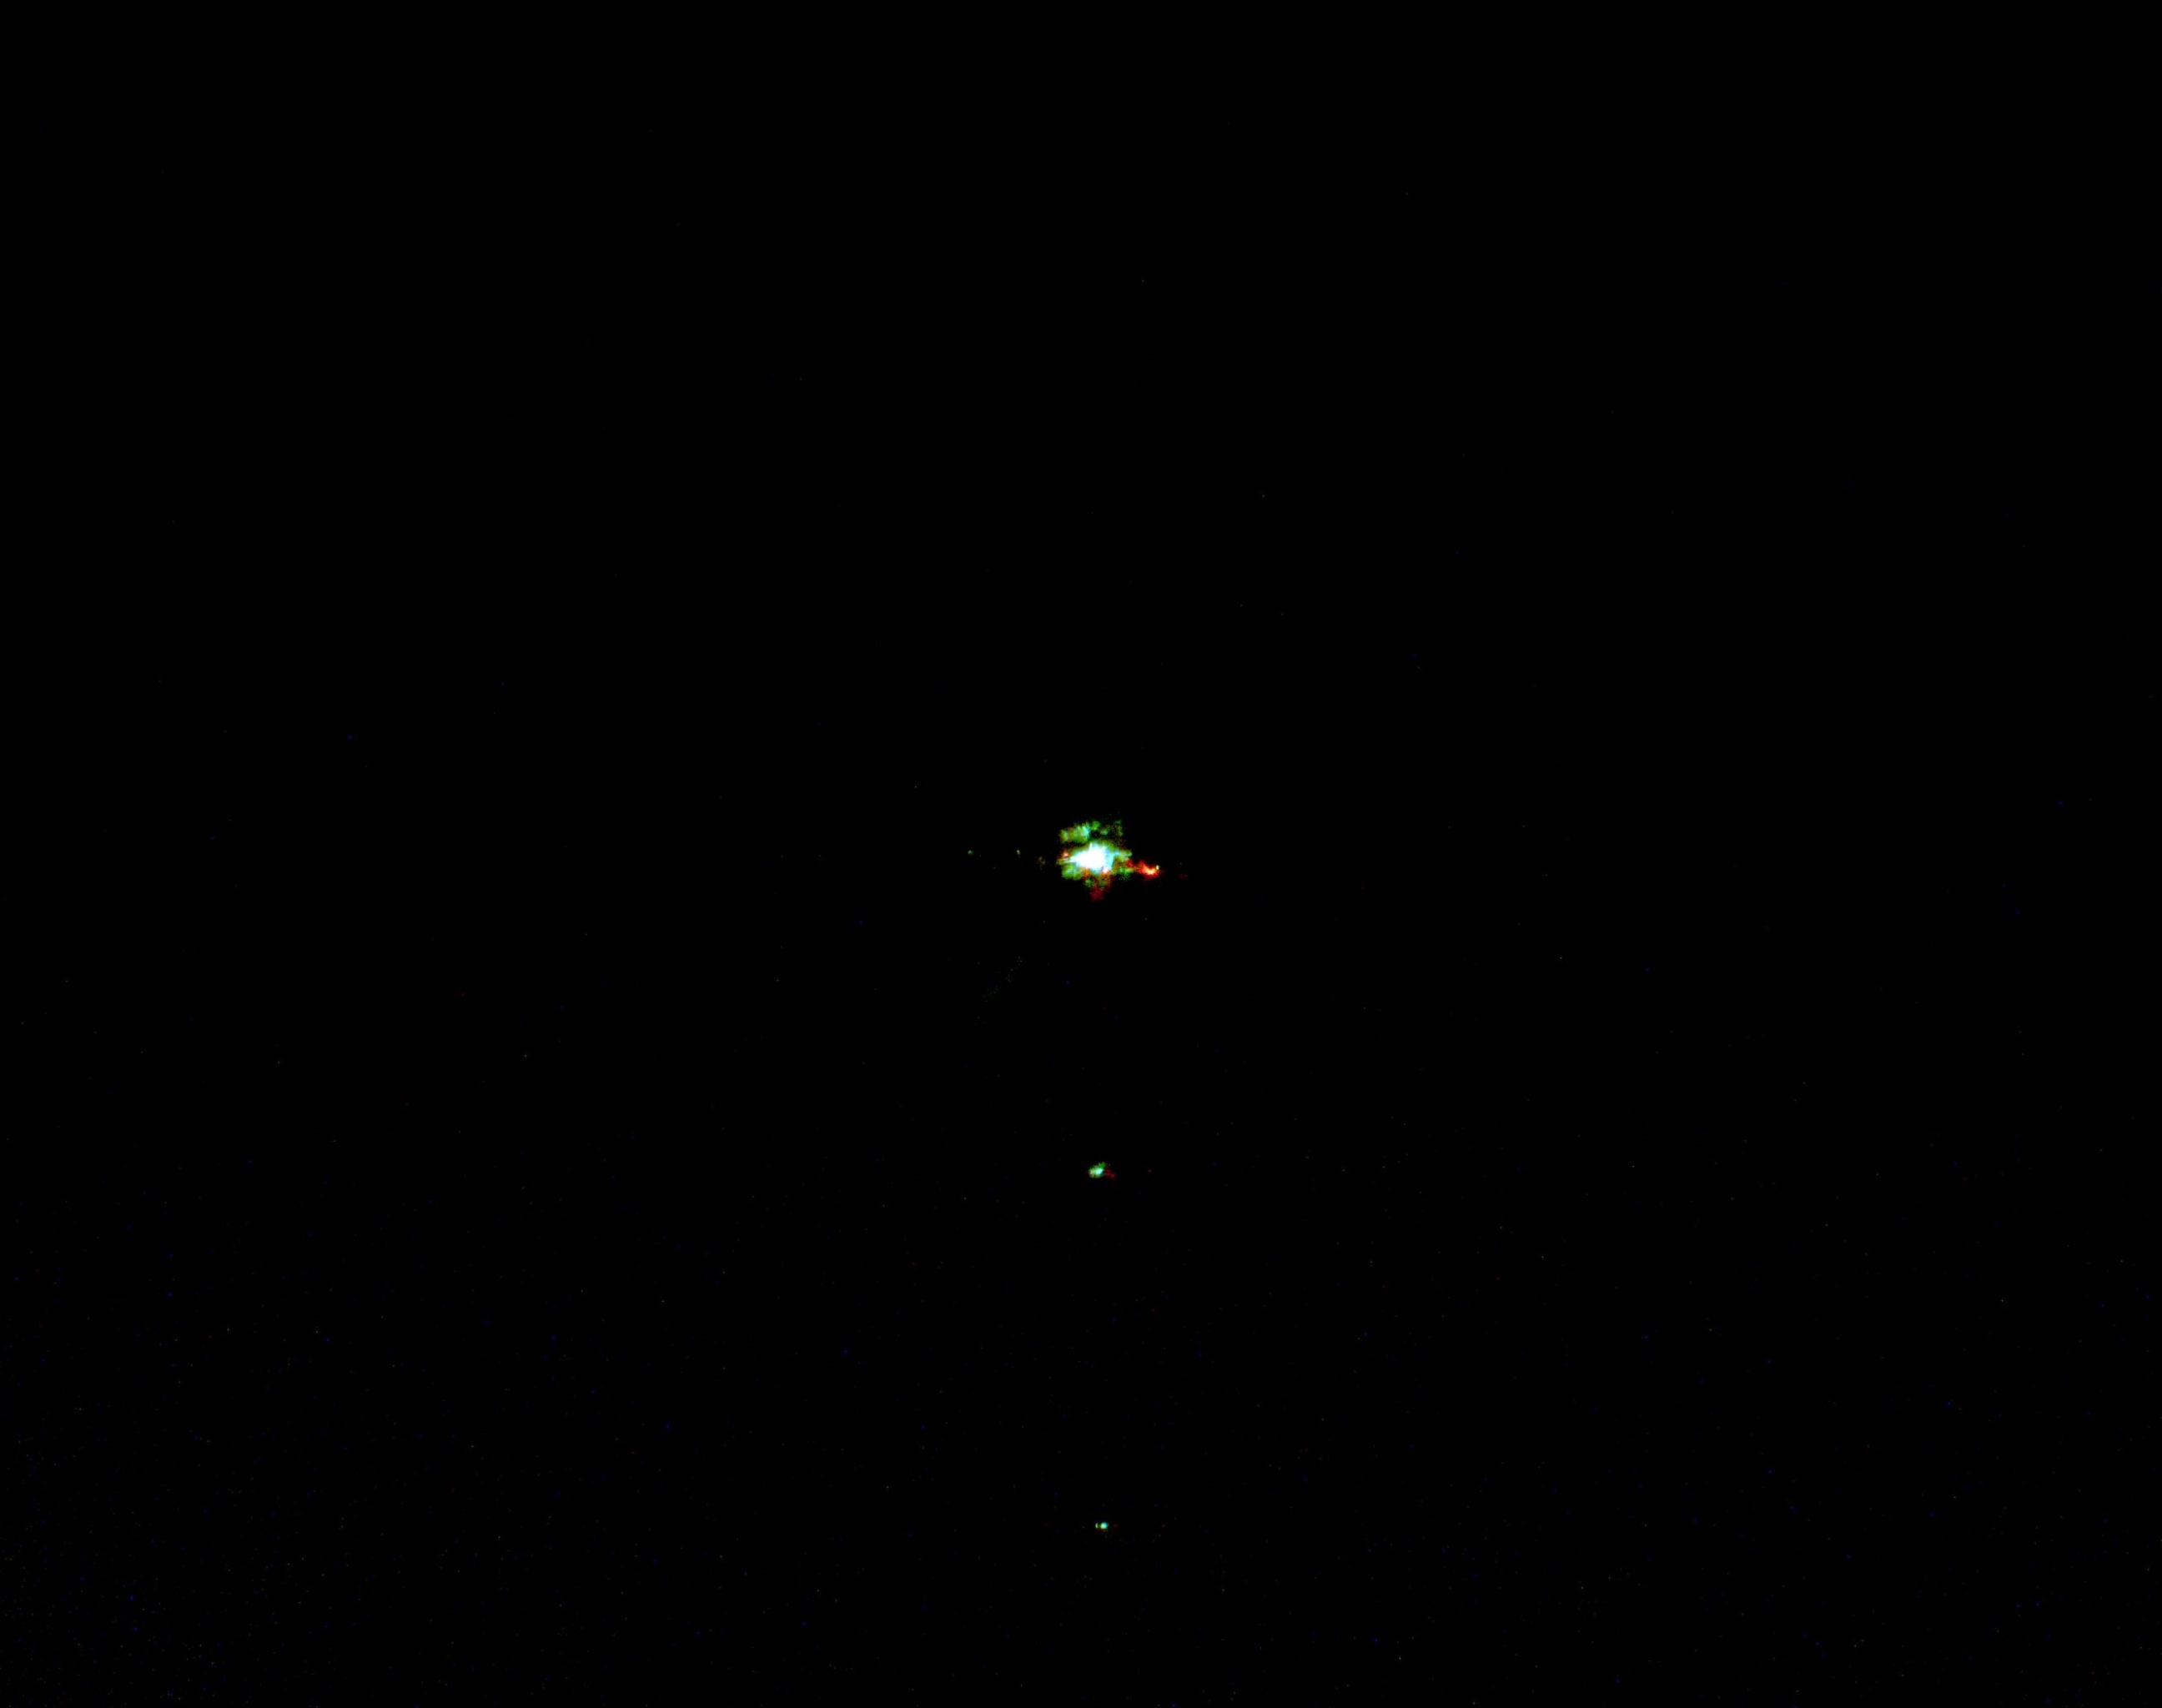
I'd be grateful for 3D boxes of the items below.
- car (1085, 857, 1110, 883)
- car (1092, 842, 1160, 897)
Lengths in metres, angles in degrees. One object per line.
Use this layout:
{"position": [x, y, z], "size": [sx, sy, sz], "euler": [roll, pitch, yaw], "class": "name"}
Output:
{"position": [1.398, 1.374, 70.645], "size": [1.988, 2.014, 3.997], "euler": [-3, -1, -1], "class": "car"}
{"position": [1.791, 0.633, 32.805], "size": [2.448, 1.958, 4.914], "euler": [-2, -1, 3], "class": "car"}
